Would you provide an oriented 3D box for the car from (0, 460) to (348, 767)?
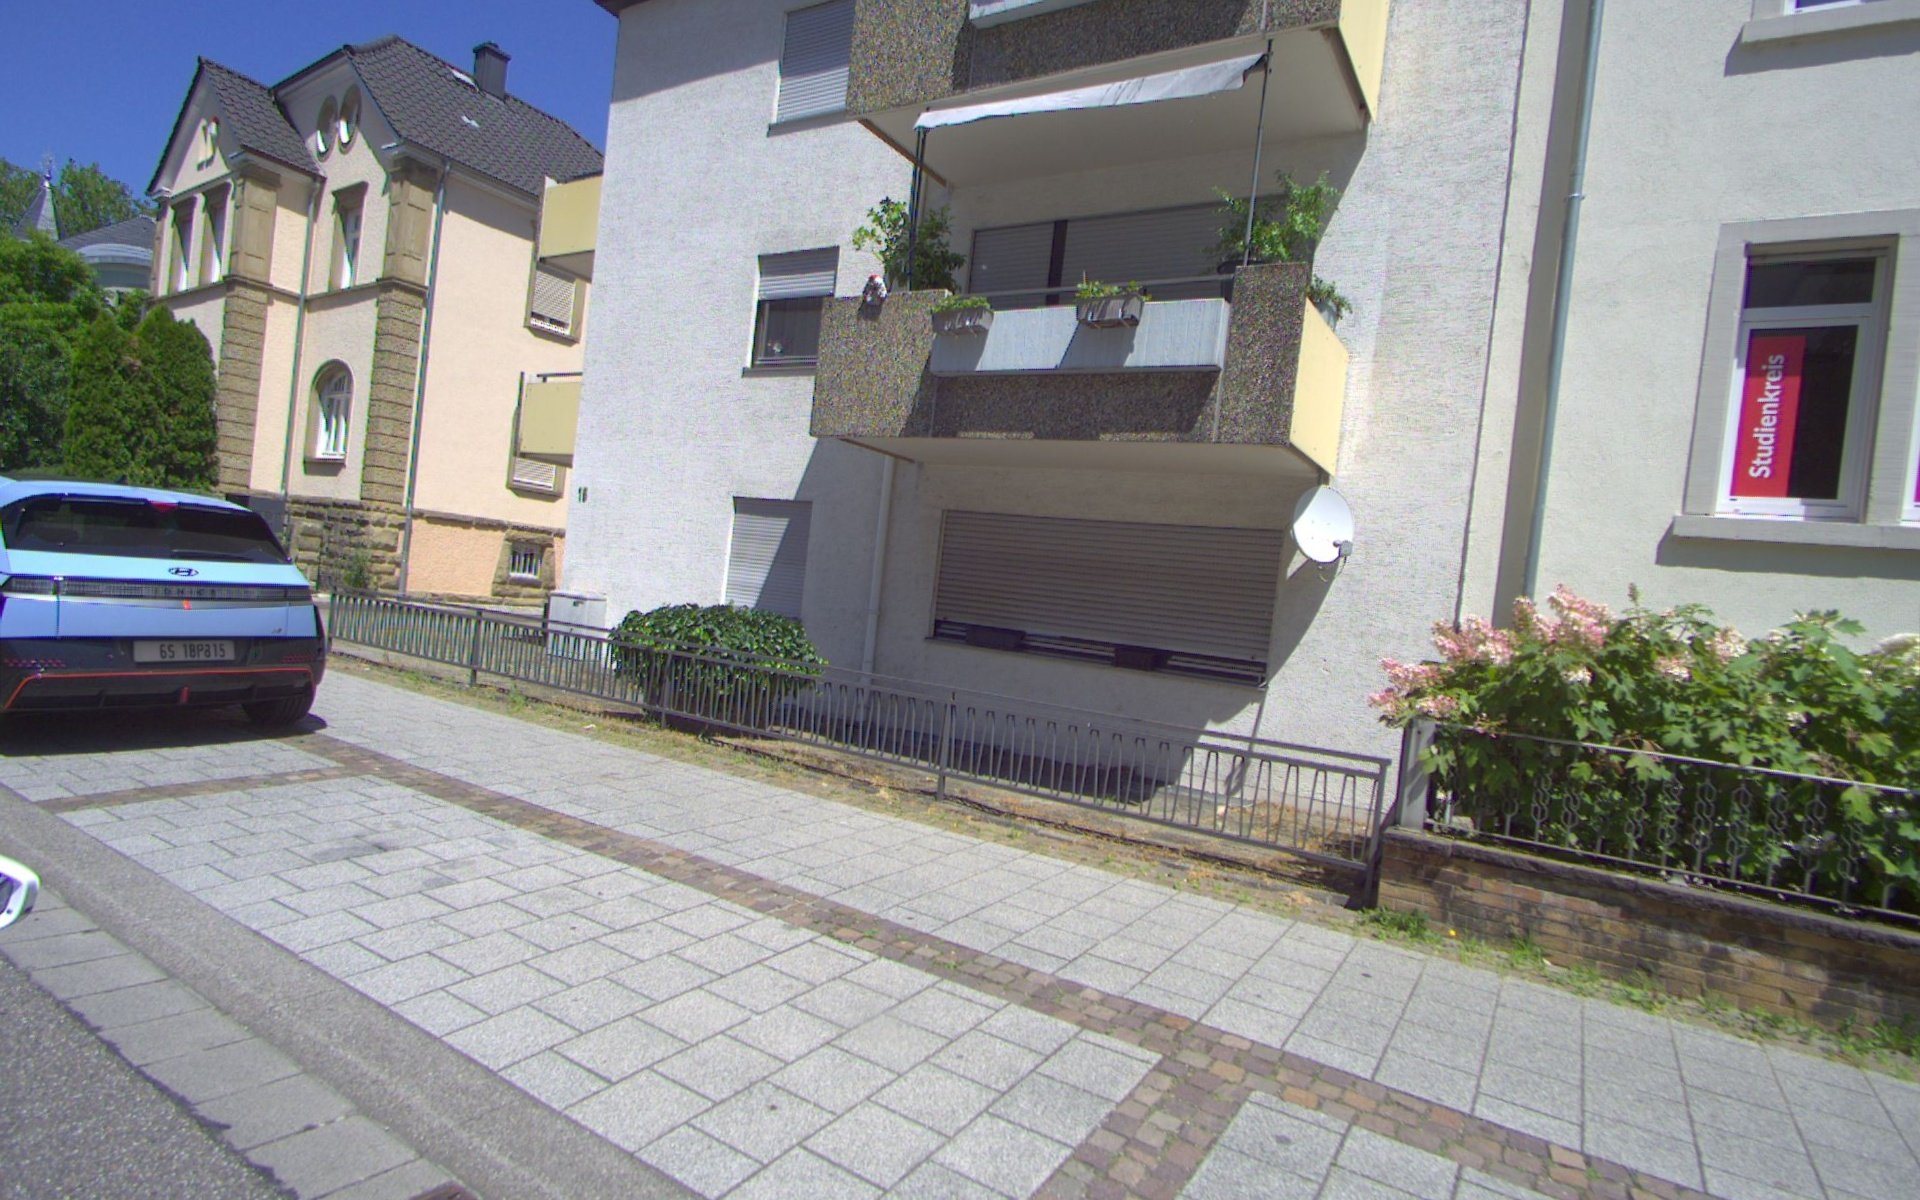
[{"bbox_3d":[-6.490,-0.097,7.213,4.355,1.641,1.843,7,2,33],"label":"car"}]
